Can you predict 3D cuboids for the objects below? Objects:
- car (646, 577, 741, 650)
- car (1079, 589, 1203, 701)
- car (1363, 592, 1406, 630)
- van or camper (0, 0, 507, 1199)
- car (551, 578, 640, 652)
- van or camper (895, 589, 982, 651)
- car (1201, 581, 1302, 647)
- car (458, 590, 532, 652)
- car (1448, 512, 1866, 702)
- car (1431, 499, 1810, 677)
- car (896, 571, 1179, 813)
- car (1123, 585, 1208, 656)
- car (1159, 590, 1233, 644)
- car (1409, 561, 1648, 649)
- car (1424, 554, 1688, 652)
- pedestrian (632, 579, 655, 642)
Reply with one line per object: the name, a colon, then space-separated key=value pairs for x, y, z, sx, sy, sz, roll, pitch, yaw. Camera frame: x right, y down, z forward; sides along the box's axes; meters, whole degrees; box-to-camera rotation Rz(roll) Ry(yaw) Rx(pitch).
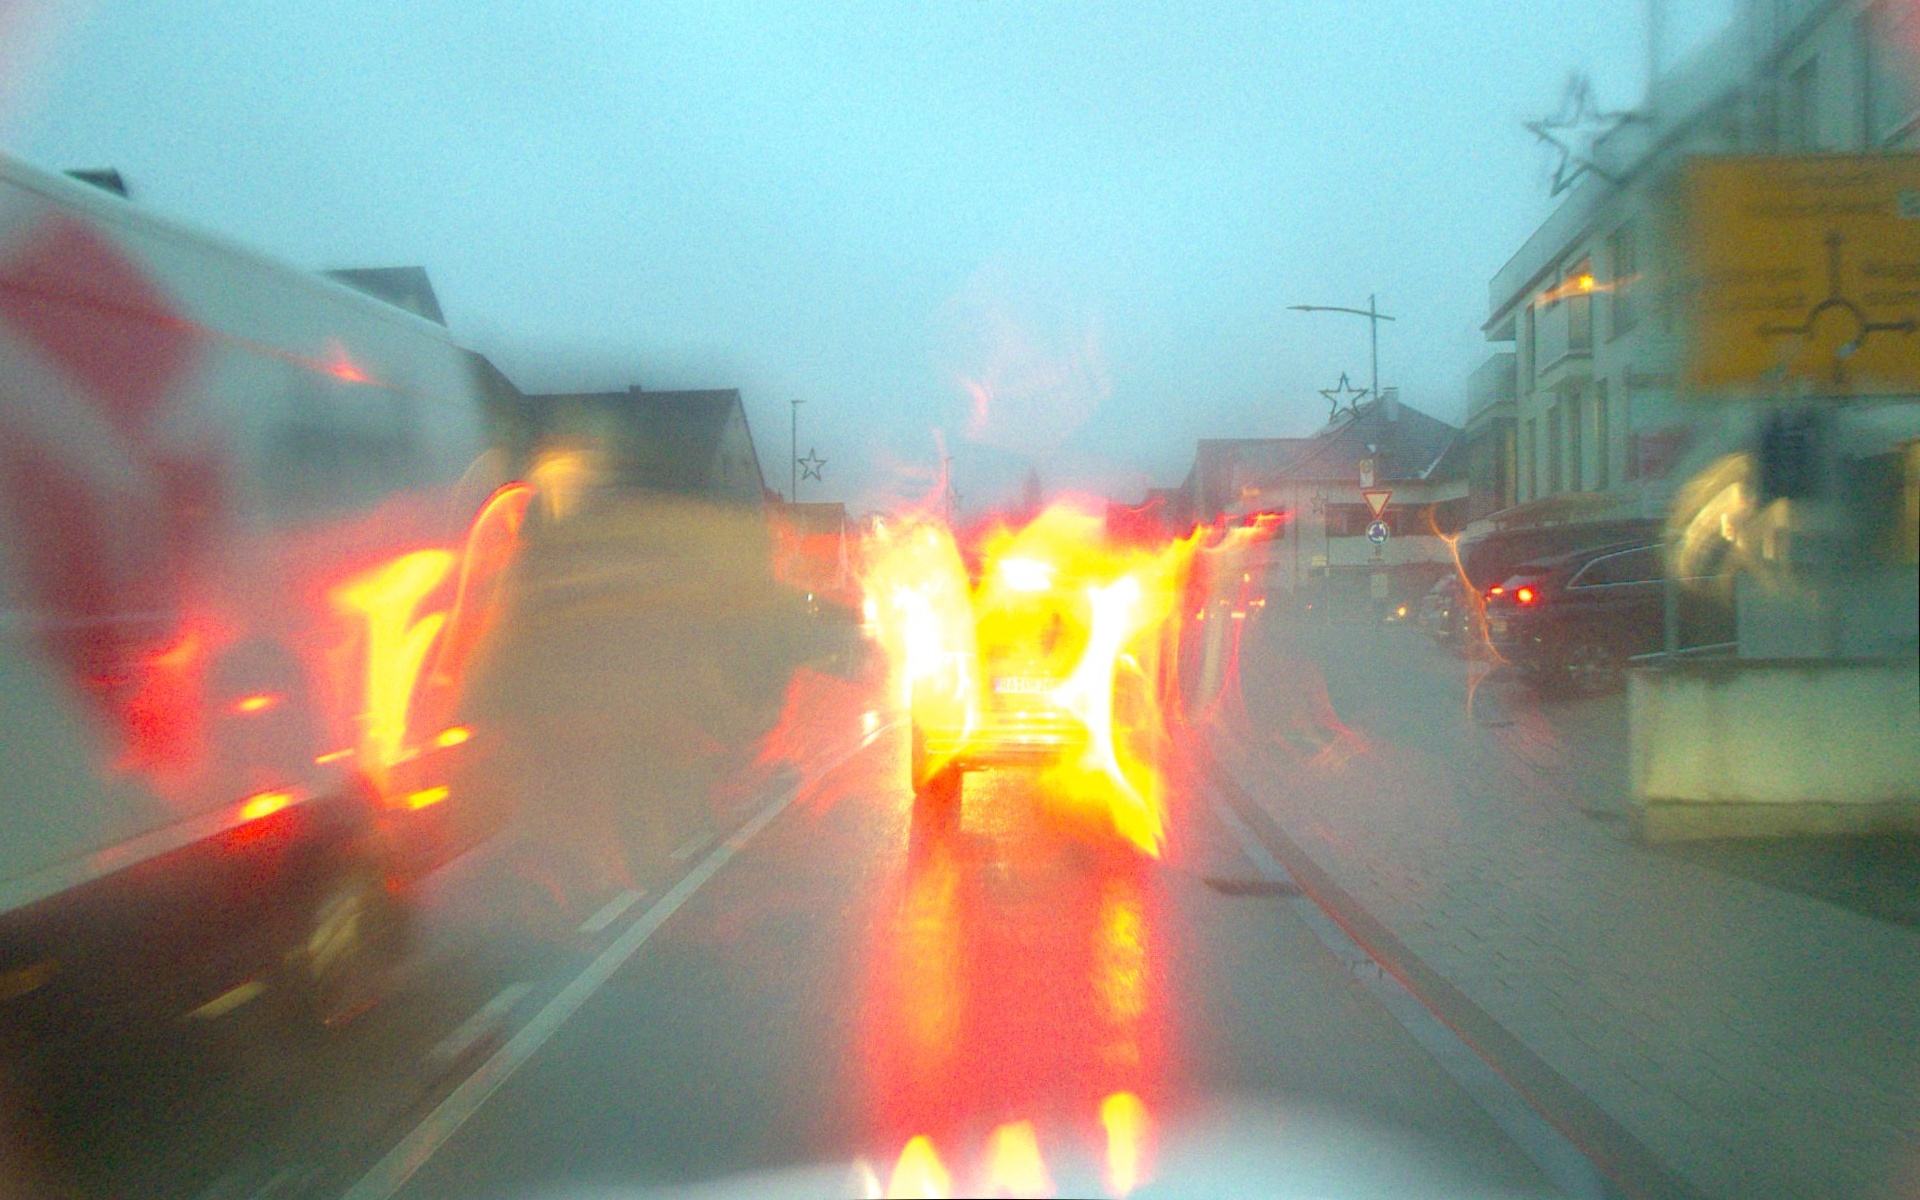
car: x=-7.603 y=0.364 z=46.976 sx=2.007 sy=1.959 sz=4.034 roll=-1 pitch=0 yaw=-19
car: x=2.767 y=0.608 z=24.703 sx=1.646 sy=1.478 sz=4.003 roll=-2 pitch=0 yaw=8
car: x=18.417 y=0.459 z=71.654 sx=1.532 sy=1.437 sz=3.603 roll=-4 pitch=-1 yaw=18
van or camper: x=-3.143 y=0.049 z=3.962 sx=2.194 sy=2.716 sz=6.556 roll=-1 pitch=0 yaw=1
car: x=-10.244 y=0.383 z=46.273 sx=2.007 sy=1.959 sz=4.034 roll=-1 pitch=0 yaw=-19
van or camper: x=-0.467 y=0.438 z=38.791 sx=1.529 sy=1.379 sz=3.425 roll=-1 pitch=0 yaw=8
car: x=10.141 y=0.441 z=57.281 sx=2.116 sy=2.026 sz=4.494 roll=-4 pitch=0 yaw=28
car: x=-13.095 y=0.541 z=46.457 sx=1.794 sy=1.641 sz=4.034 roll=-1 pitch=0 yaw=-19
car: x=8.222 y=0.074 z=19.783 sx=4.093 sy=1.666 sz=1.804 roll=-7 pitch=0 yaw=0
car: x=9.193 y=-0.144 z=23.370 sx=4.468 sy=1.953 sz=1.951 roll=-6 pitch=-1 yaw=6
car: x=0.685 y=0.606 z=13.545 sx=1.923 sy=1.622 sz=4.315 roll=1 pitch=1 yaw=4
car: x=4.557 y=0.415 z=36.939 sx=1.776 sy=1.436 sz=4.003 roll=1 pitch=1 yaw=6
car: x=6.526 y=0.437 z=45.923 sx=1.951 sy=1.416 sz=4.003 roll=-1 pitch=0 yaw=7
car: x=11.330 y=0.100 z=33.170 sx=4.118 sy=1.485 sz=1.793 roll=-3 pitch=-1 yaw=2
car: x=10.765 y=0.059 z=30.092 sx=4.118 sy=1.485 sz=1.793 roll=-3 pitch=-1 yaw=2
pedestrian: x=-8.856 y=0.292 z=46.304 sx=0.488 sy=1.731 sz=0.709 roll=-2 pitch=0 yaw=-19
